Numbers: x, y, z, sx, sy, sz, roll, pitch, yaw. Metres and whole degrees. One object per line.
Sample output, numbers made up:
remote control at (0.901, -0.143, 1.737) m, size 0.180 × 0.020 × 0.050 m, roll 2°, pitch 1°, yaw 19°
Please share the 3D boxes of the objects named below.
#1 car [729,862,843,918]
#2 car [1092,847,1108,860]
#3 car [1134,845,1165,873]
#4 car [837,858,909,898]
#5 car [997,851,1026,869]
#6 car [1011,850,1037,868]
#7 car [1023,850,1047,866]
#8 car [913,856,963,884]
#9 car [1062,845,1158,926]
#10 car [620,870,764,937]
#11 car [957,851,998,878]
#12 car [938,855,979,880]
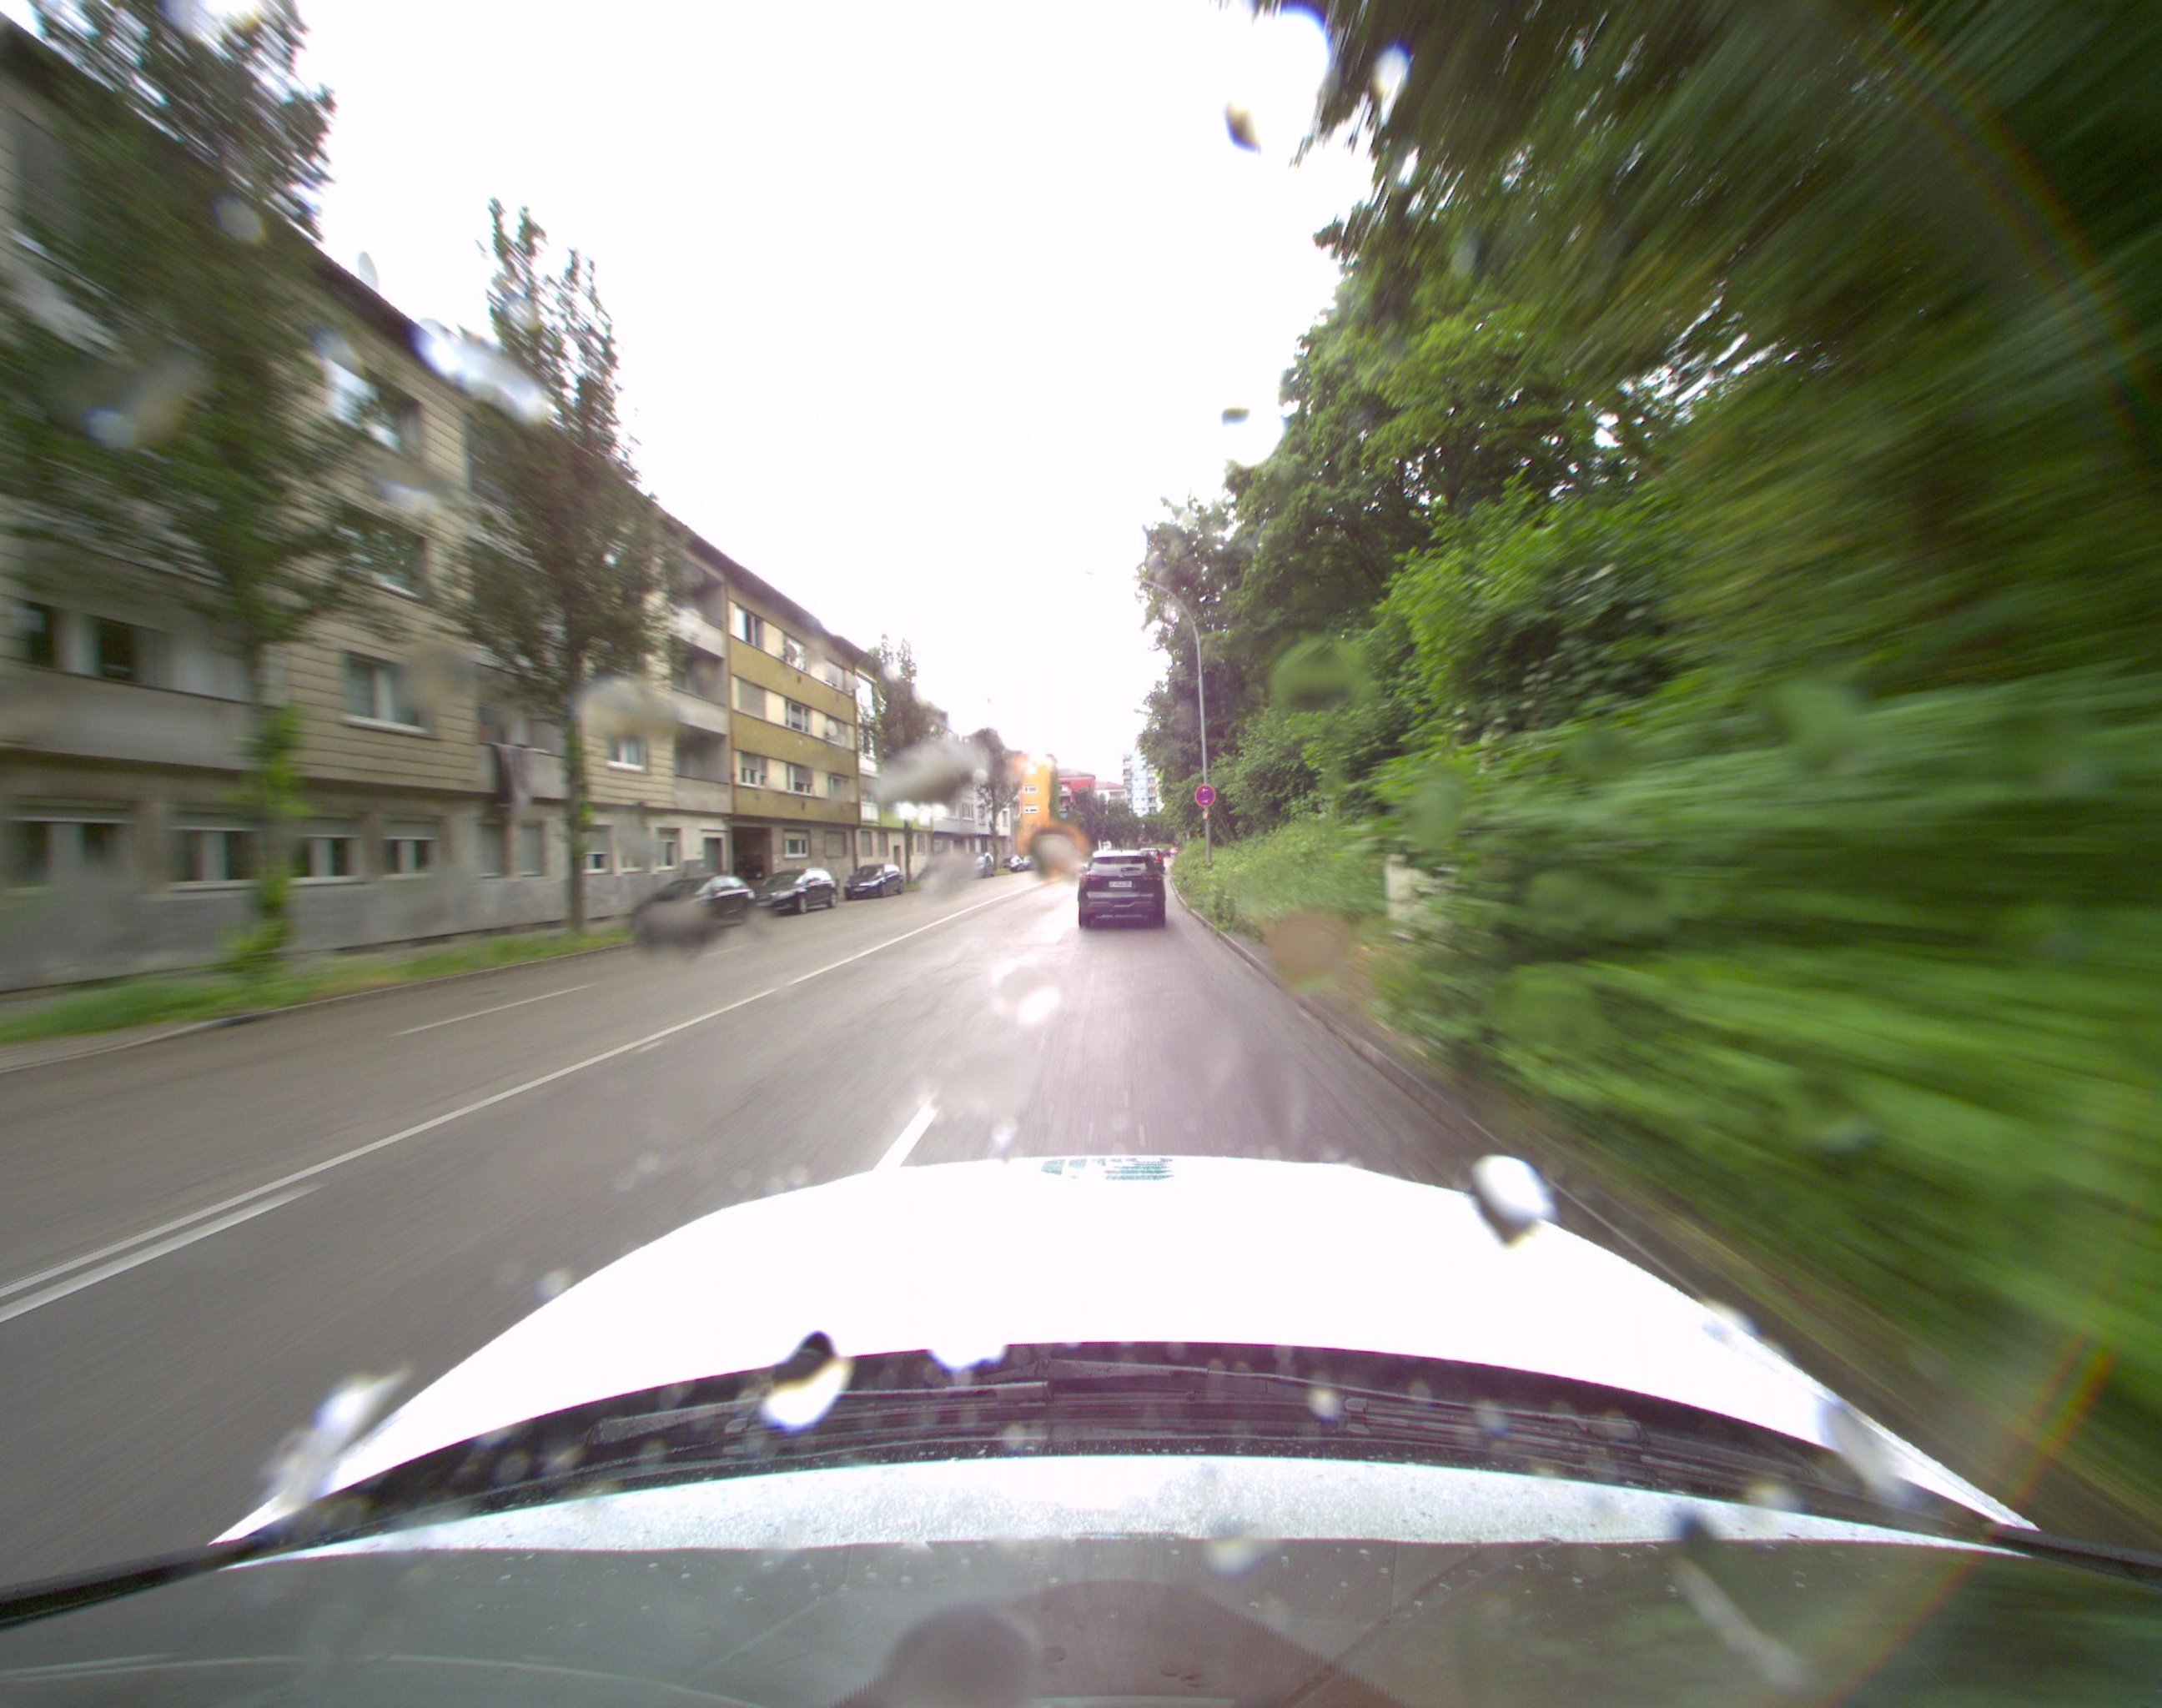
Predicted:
car at (-9.754, 1.130, 27.361) m, size 1.810 × 1.488 × 4.793 m, roll -4°, pitch 1°, yaw 2°
car at (2.382, -0.035, 102.053) m, size 1.698 × 1.478 × 3.685 m, roll -3°, pitch 0°, yaw 5°
car at (4.549, 0.285, 53.659) m, size 1.877 × 1.711 × 4.008 m, roll -2°, pitch 0°, yaw 7°
car at (-9.275, 1.017, 36.672) m, size 1.711 × 1.488 × 4.519 m, roll -4°, pitch 1°, yaw 4°
car at (-6.145, 0.503, 72.567) m, size 1.680 × 1.358 × 4.586 m, roll -5°, pitch 0°, yaw 6°
car at (-5.474, 0.469, 78.699) m, size 1.672 × 1.449 × 4.284 m, roll -5°, pitch 0°, yaw 6°
car at (-4.726, 0.417, 84.361) m, size 1.704 × 1.425 × 4.331 m, roll -4°, pitch 0°, yaw 6°
car at (-8.398, 0.897, 48.229) m, size 1.810 × 1.372 × 4.684 m, roll -4°, pitch 1°, yaw 3°
car at (0.762, 0.621, 18.282) m, size 1.835 × 1.582 × 4.007 m, roll -1°, pitch 1°, yaw 6°
car at (-10.139, 1.227, 21.580) m, size 1.619 × 1.387 × 3.992 m, roll -3°, pitch 1°, yaw 3°
car at (-7.513, 0.753, 59.534) m, size 1.881 × 1.766 × 4.608 m, roll -3°, pitch 0°, yaw 6°
car at (-8.073, 0.876, 54.022) m, size 1.672 × 1.376 × 4.005 m, roll -4°, pitch 0°, yaw 5°
